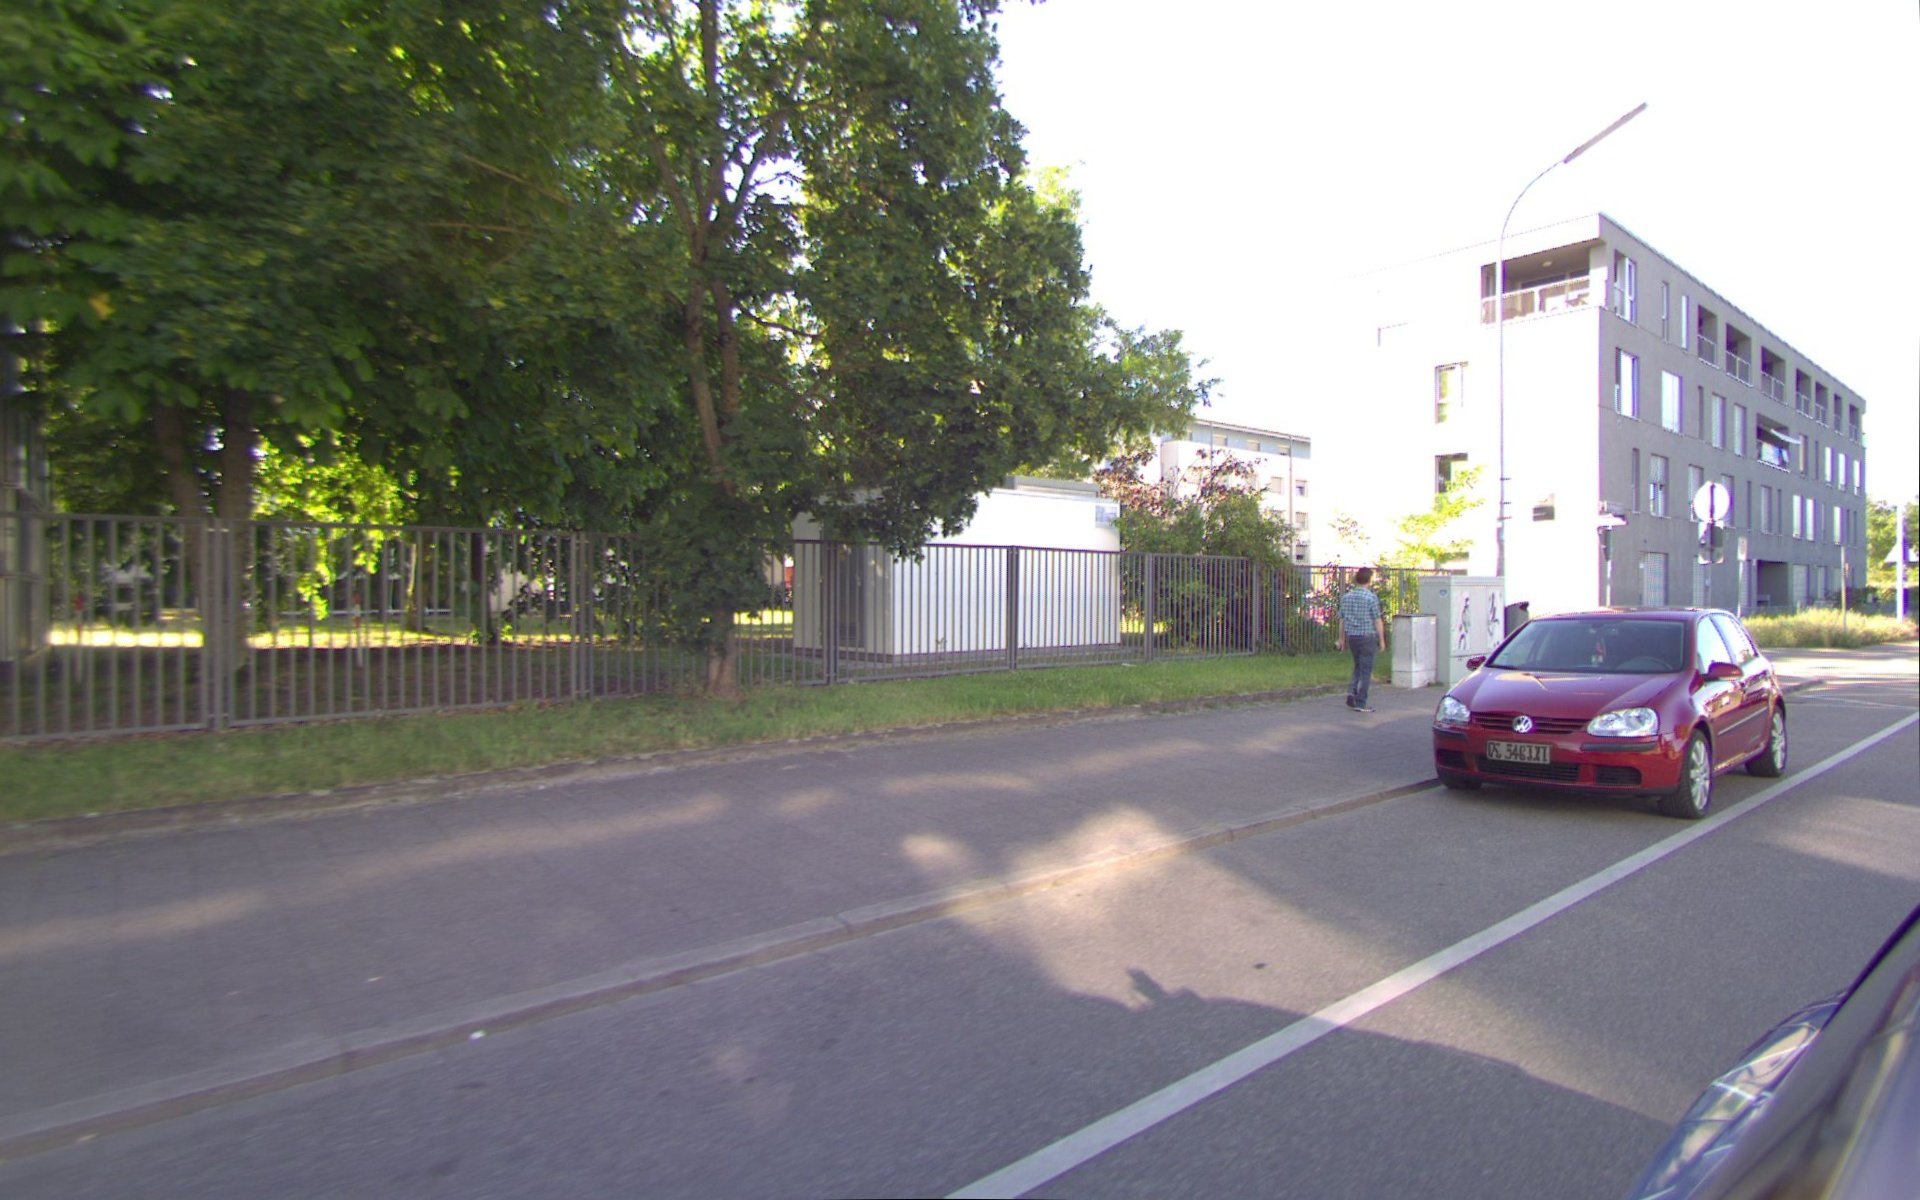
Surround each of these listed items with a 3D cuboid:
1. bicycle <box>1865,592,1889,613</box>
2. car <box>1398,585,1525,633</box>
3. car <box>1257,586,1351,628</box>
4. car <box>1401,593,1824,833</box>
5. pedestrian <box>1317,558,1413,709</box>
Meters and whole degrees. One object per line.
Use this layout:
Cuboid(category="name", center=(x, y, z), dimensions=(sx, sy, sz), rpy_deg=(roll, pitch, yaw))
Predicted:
Cuboid(category="bicycle", center=(48.340, 0.132, 53.330), dimensions=(1.807, 1.075, 0.553), rpy_deg=(0, 0, -36))
Cuboid(category="car", center=(16.352, 0.256, 33.128), dimensions=(1.682, 1.476, 3.338), rpy_deg=(0, 1, -34))
Cuboid(category="car", center=(13.635, 0.240, 40.047), dimensions=(3.928, 1.539, 1.697), rpy_deg=(0, 1, -40))
Cuboid(category="car", center=(5.612, 0.701, 8.439), dimensions=(4.570, 1.473, 1.722), rpy_deg=(-1, -1, -41))
Cuboid(category="pedestrian", center=(5.007, 0.382, 12.509), dimensions=(0.869, 1.779, 0.719), rpy_deg=(0, 2, -39))
